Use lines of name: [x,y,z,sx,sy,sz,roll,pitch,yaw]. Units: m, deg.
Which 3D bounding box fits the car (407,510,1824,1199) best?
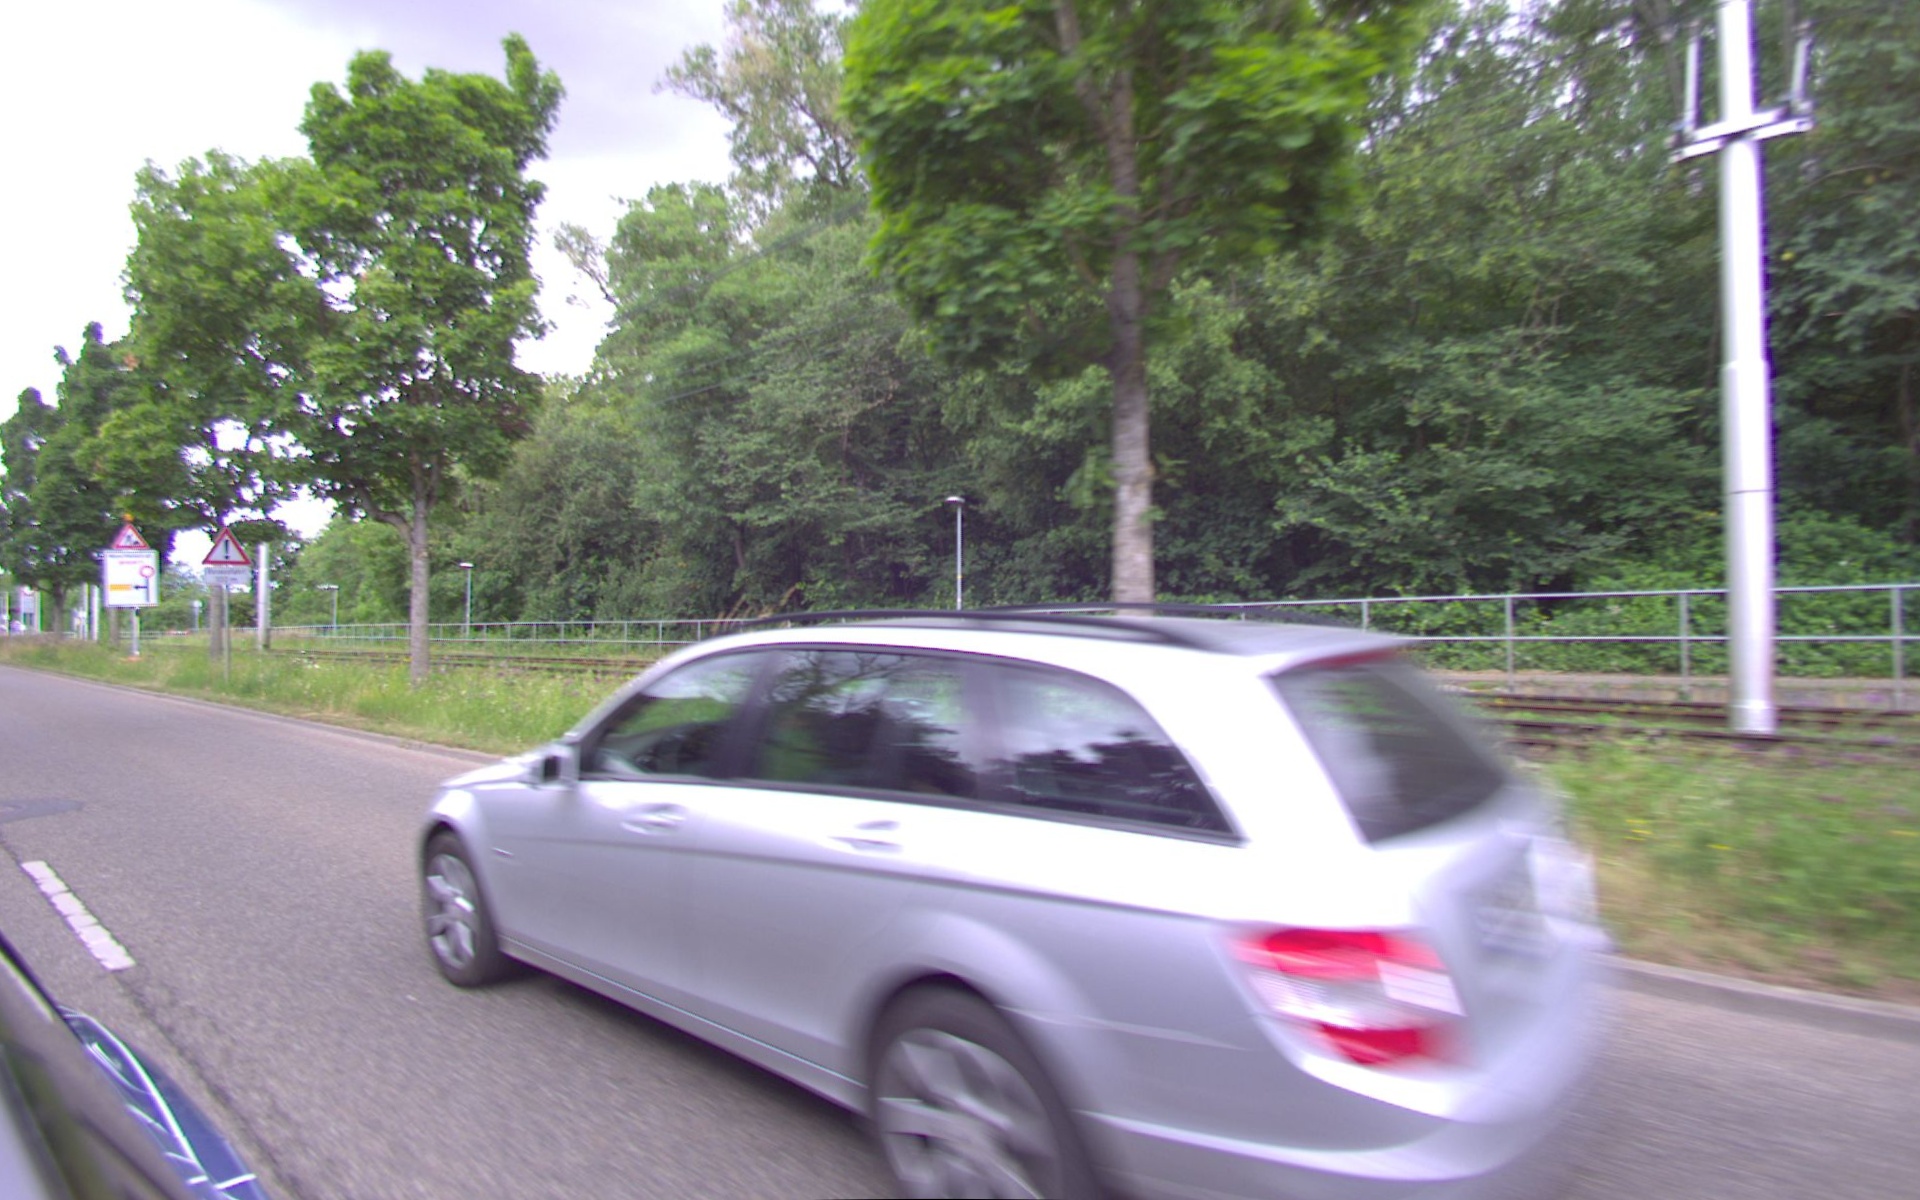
car: [-0.034,0.680,3.265,4.240,1.480,1.755,-2,-1,42]
